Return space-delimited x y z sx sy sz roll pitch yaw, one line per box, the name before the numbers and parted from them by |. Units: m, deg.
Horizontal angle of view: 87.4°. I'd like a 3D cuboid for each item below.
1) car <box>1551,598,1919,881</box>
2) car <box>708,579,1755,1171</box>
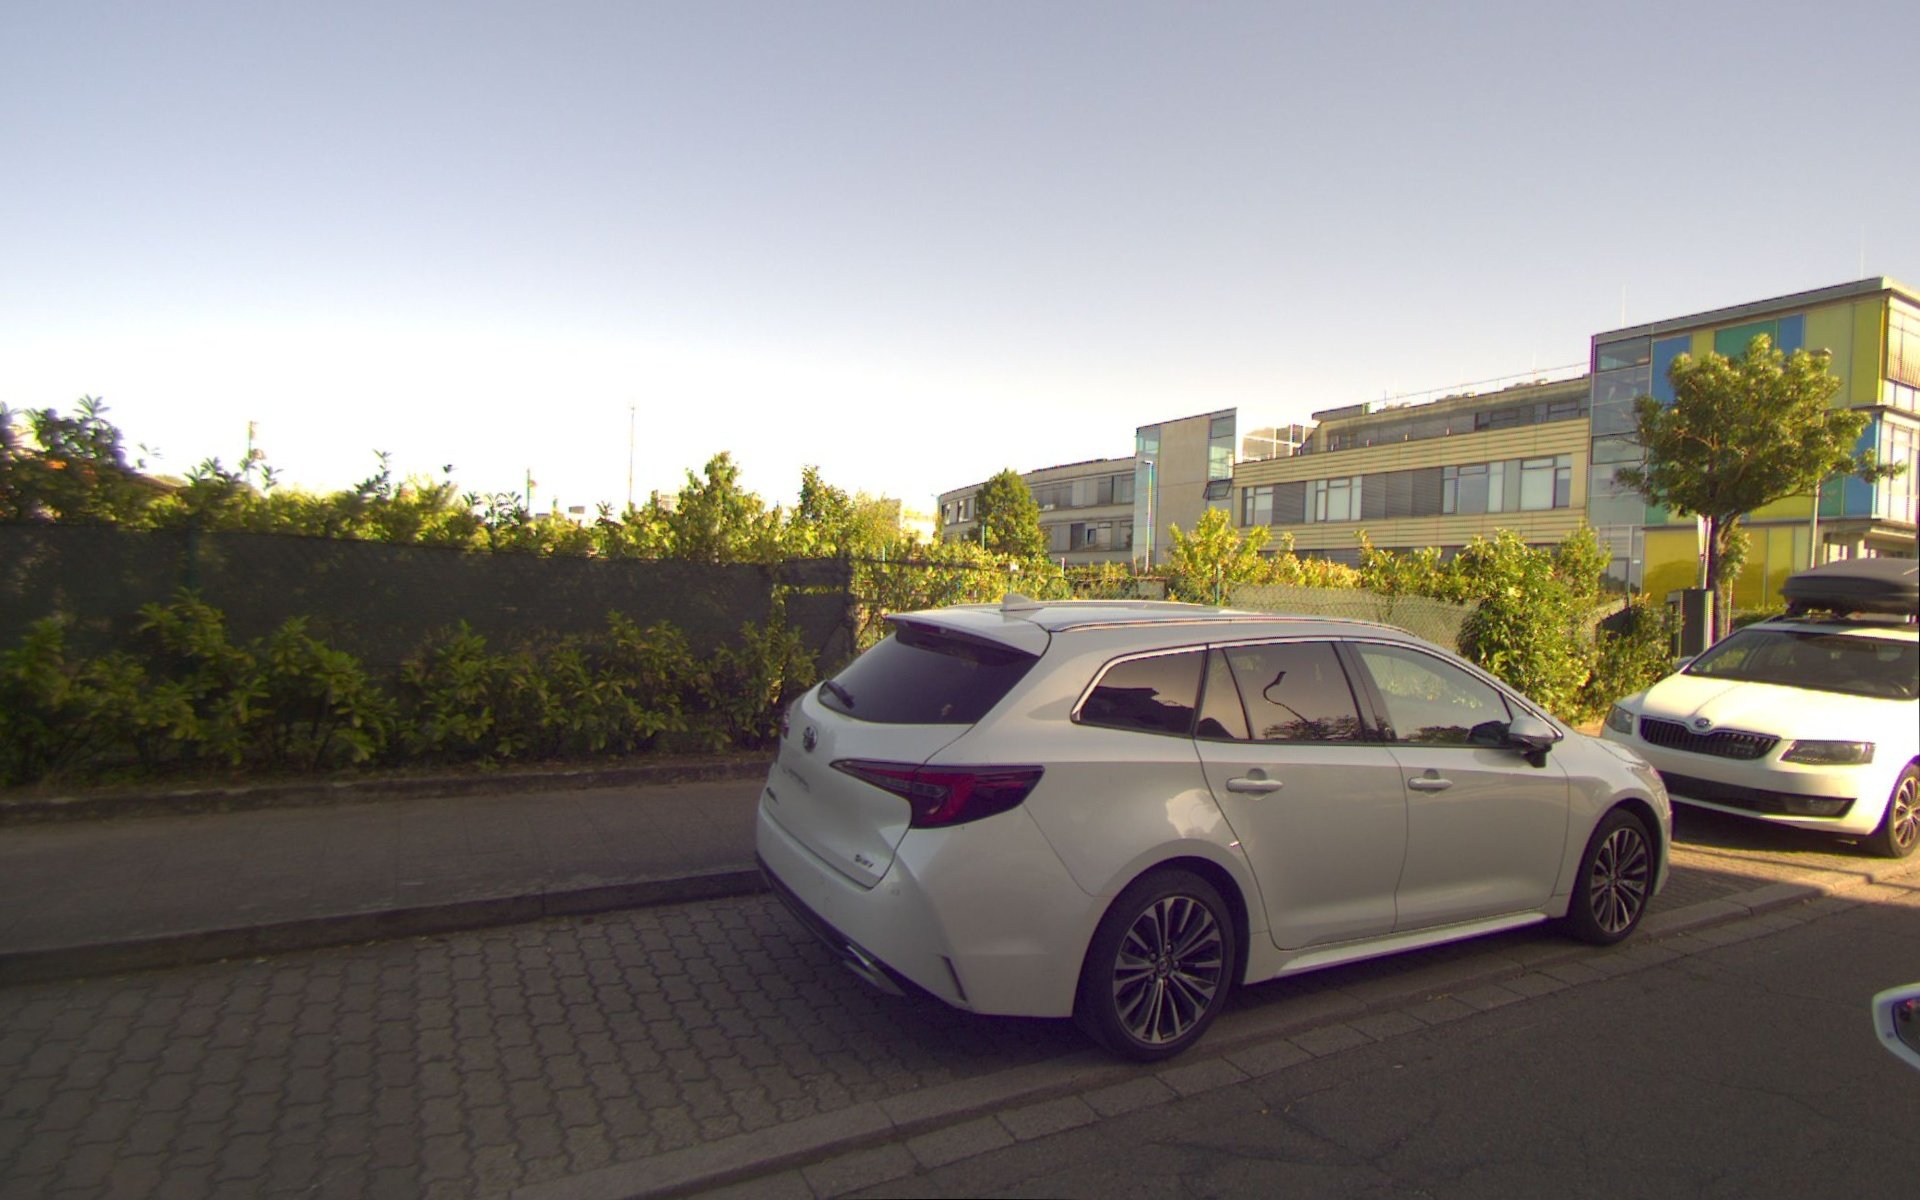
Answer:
car | 6.647 0.862 7.598 4.463 1.534 1.688 2 3 -30
car | 1.356 0.771 4.463 4.486 1.465 1.739 2 3 -29
